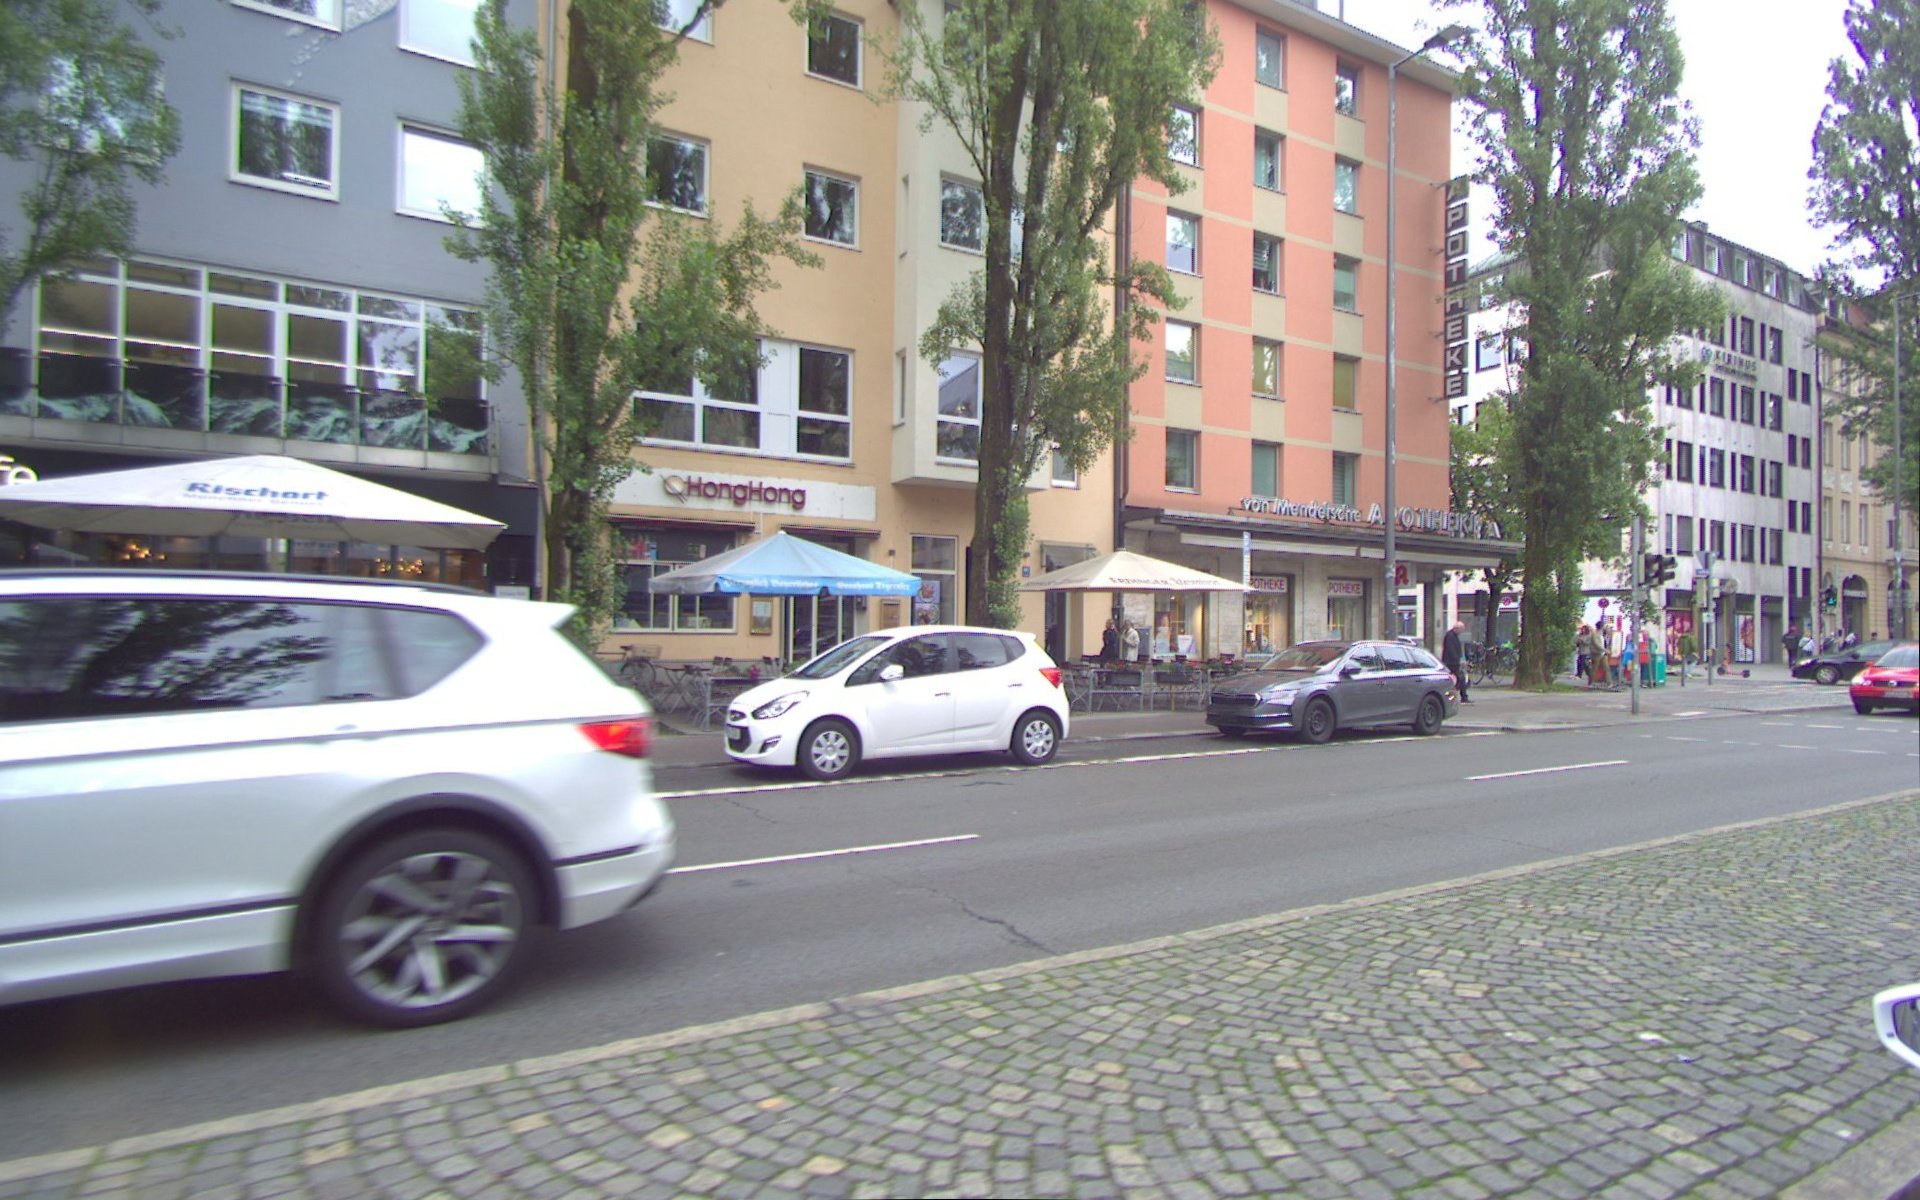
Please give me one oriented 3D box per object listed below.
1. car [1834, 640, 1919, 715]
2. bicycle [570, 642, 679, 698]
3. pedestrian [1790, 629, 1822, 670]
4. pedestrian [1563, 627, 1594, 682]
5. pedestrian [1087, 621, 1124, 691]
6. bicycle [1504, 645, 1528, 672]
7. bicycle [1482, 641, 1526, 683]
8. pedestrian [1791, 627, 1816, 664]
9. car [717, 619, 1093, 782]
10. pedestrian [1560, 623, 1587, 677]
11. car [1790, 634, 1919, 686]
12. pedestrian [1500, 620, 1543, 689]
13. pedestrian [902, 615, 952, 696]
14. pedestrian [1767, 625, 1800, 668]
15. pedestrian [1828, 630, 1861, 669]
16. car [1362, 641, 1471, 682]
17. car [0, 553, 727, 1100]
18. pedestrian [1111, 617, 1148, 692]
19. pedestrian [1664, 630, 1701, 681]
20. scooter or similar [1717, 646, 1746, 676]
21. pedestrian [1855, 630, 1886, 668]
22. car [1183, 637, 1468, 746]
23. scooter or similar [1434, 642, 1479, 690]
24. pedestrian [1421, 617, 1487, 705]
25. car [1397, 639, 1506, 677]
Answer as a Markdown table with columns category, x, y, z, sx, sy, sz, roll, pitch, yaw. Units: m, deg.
| category | x | y | z | sx | sy | sz | roll | pitch | yaw |
| --- | --- | --- | --- | --- | --- | --- | --- | --- | --- |
| car | 20.060 | 1.574 | 20.880 | 3.779 | 1.456 | 1.728 | 2 | -2 | -30 |
| bicycle | -6.432 | 1.330 | 19.319 | 1.933 | 1.015 | 0.440 | 1 | -1 | -29 |
| pedestrian | 36.307 | 2.104 | 43.105 | 0.966 | 1.704 | 0.728 | 1 | 0 | -30 |
| pedestrian | 19.526 | 1.710 | 31.719 | 0.513 | 1.711 | 0.627 | 2 | 0 | -29 |
| pedestrian | 3.479 | 1.337 | 24.092 | 0.684 | 1.660 | 0.552 | 1 | -1 | -31 |
| bicycle | 25.353 | 2.663 | 45.769 | 0.444 | 1.199 | 2.051 | -1 | -2 | 44 |
| bicycle | 15.149 | 1.713 | 27.965 | 1.357 | 1.156 | 0.419 | 1 | -1 | -30 |
| pedestrian | 41.407 | 2.218 | 49.331 | 0.810 | 1.811 | 0.696 | 1 | -1 | -29 |
| car | -0.587 | 1.085 | 11.677 | 4.046 | 1.604 | 1.696 | 2 | -3 | -29 |
| pedestrian | 19.805 | 1.594 | 32.425 | 0.508 | 1.713 | 0.584 | 1 | -1 | -30 |
| car | 28.321 | 1.844 | 31.356 | 3.650 | 1.494 | 1.763 | -1 | -2 | 42 |
| pedestrian | 14.943 | 1.437 | 26.741 | 0.768 | 1.794 | 0.721 | 1 | -1 | -29 |
| pedestrian | -0.713 | 1.171 | 21.513 | 0.793 | 1.690 | 0.776 | 1 | -1 | -31 |
| pedestrian | 35.908 | 2.014 | 43.793 | 0.901 | 1.811 | 0.796 | 1 | 0 | -30 |
| pedestrian | 36.665 | 2.037 | 41.628 | 0.977 | 1.588 | 0.747 | 1 | -1 | -29 |
| car | 18.654 | 2.481 | 41.240 | 1.755 | 1.439 | 3.980 | 2 | 0 | -21 |
| car | -3.376 | 0.722 | 3.860 | 4.521 | 1.657 | 1.835 | 1 | -3 | -30 |
| pedestrian | 4.003 | 1.280 | 23.719 | 0.684 | 1.740 | 0.552 | 1 | -1 | -31 |
| pedestrian | 25.426 | 1.947 | 35.334 | 0.931 | 1.763 | 0.723 | 2 | 0 | -31 |
| scooter or similar | 29.246 | 2.315 | 38.080 | 0.271 | 1.107 | 0.809 | 2 | 0 | -33 |
| pedestrian | 39.709 | 2.145 | 43.816 | 0.924 | 1.640 | 0.774 | 1 | -1 | -30 |
| car | 5.676 | 1.333 | 15.412 | 4.539 | 1.457 | 1.694 | 2 | -3 | -32 |
| scooter or similar | 12.664 | 1.673 | 25.603 | 1.389 | 1.189 | 0.404 | 1 | -1 | -35 |
| pedestrian | 10.536 | 1.301 | 21.443 | 0.975 | 1.819 | 0.736 | 2 | 0 | -12 |
| car | 20.463 | 2.387 | 41.975 | 1.755 | 1.439 | 3.981 | 1 | -2 | -21 |
